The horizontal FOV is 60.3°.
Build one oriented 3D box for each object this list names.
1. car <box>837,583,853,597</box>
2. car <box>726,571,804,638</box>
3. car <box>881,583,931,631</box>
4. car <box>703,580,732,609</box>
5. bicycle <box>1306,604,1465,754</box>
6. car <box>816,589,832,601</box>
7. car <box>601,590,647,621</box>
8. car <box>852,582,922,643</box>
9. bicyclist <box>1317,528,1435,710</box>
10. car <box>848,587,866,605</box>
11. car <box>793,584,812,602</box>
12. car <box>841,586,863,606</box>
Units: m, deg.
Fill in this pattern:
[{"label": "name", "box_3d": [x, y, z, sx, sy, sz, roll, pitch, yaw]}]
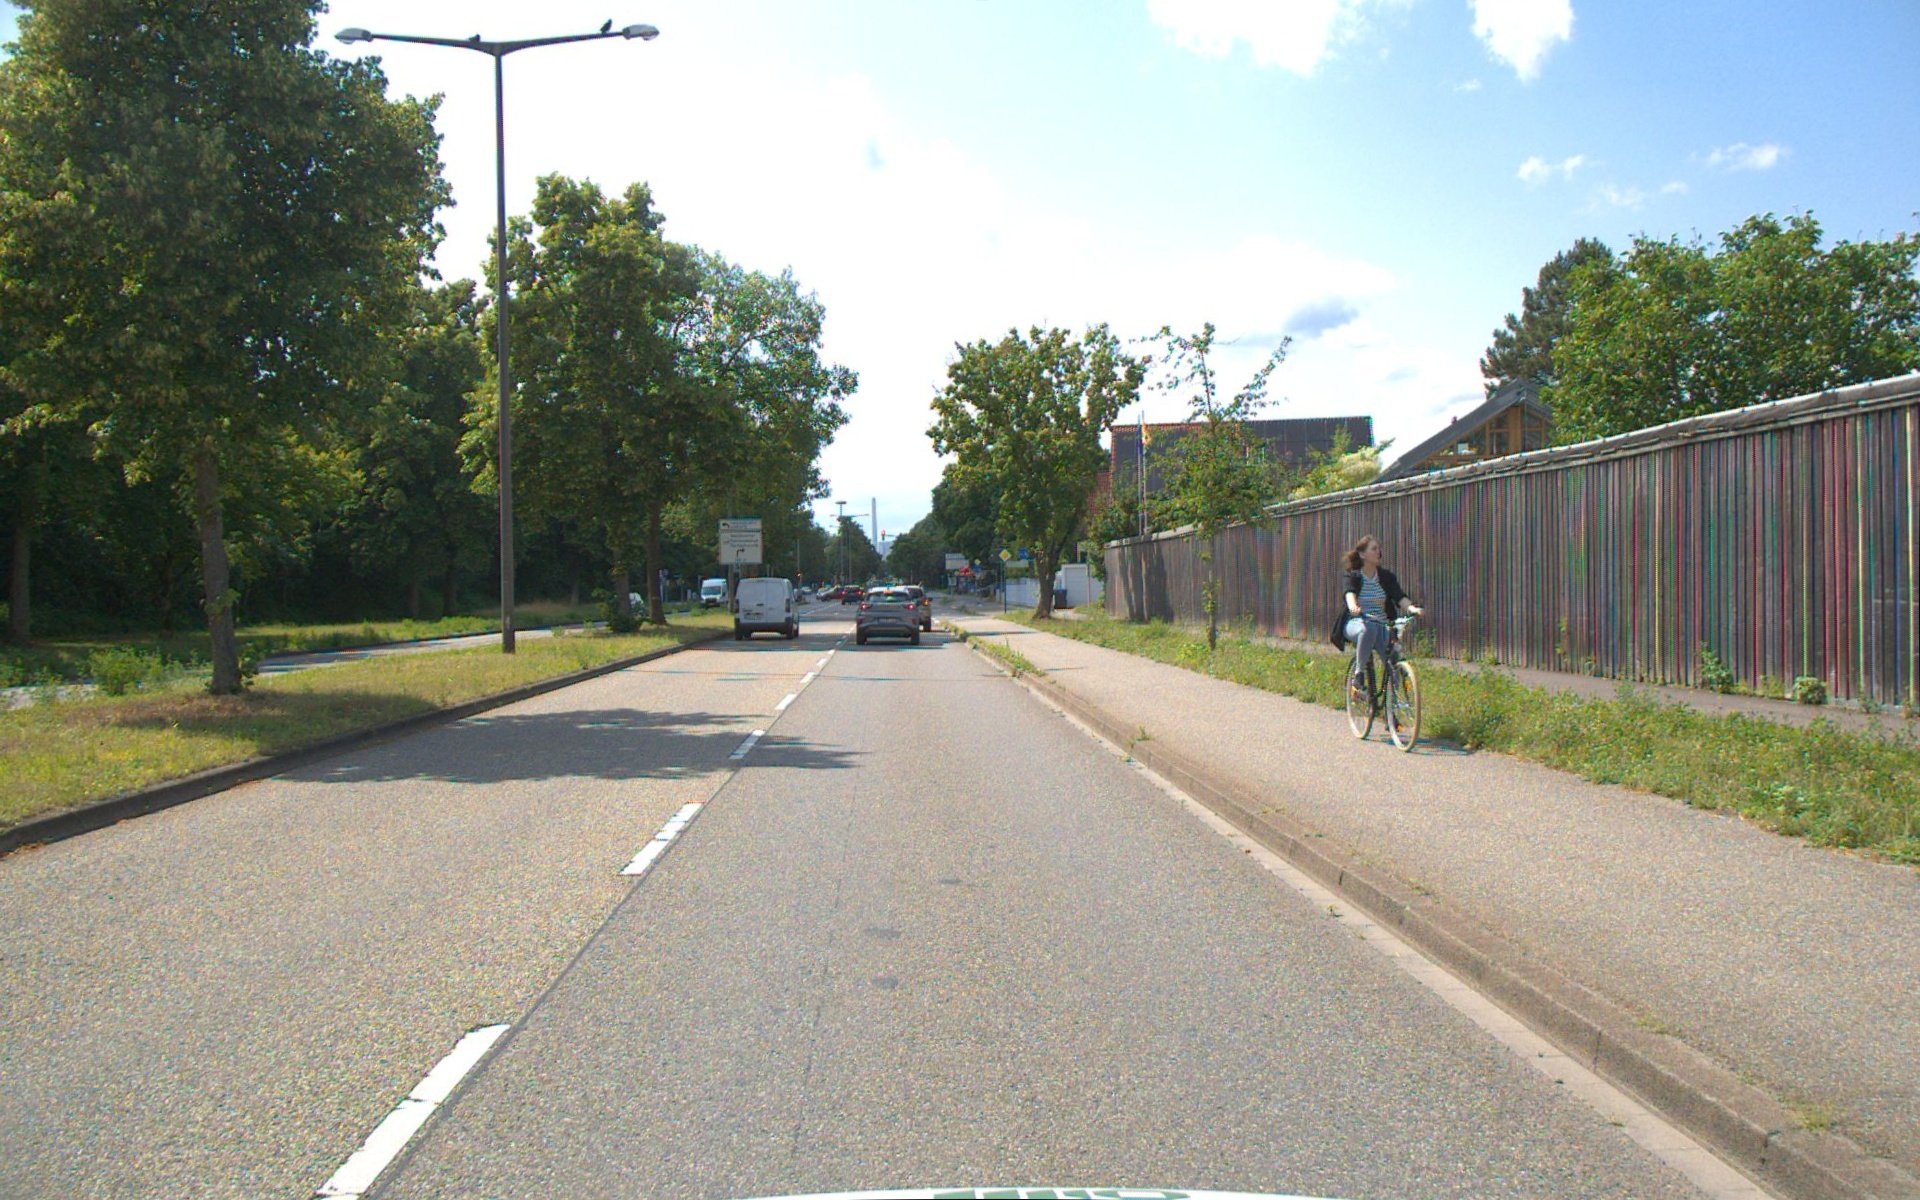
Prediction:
[{"label": "car", "box_3d": [-14.495, -1.247, 208.521, 1.744, 1.798, 4.149, -1, 0, -2]}, {"label": "car", "box_3d": [-5.956, 0.103, 51.015, 2.024, 1.945, 4.644, -1, 1, -2]}, {"label": "car", "box_3d": [-1.993, 0.233, 60.626, 1.744, 1.672, 4.195, -1, 0, -2]}, {"label": "car", "box_3d": [-21.582, -0.477, 147.265, 2.004, 2.474, 5.248, -1, 0, -2]}, {"label": "bicycle", "box_3d": [3.509, 0.606, 13.848, 0.633, 1.086, 2.278, -3, 1, -1]}, {"label": "car", "box_3d": [-17.877, -0.684, 218.101, 1.854, 1.616, 4.108, -1, 0, -2]}, {"label": "car", "box_3d": [-19.831, 0.320, 97.715, 1.953, 1.735, 4.191, -1, 0, -2]}, {"label": "car", "box_3d": [-2.022, 0.315, 46.305, 1.837, 1.616, 4.183, -1, 0, -2]}, {"label": "bicyclist", "box_3d": [3.481, 0.148, 13.914, 0.641, 1.436, 0.986, -3, 0, -2]}, {"label": "car", "box_3d": [-10.310, -0.394, 165.661, 1.744, 1.798, 4.167, -1, 0, -2]}, {"label": "car", "box_3d": [-16.516, -0.761, 173.813, 1.744, 1.798, 4.124, -1, 0, -2]}, {"label": "car", "box_3d": [-10.102, -0.393, 155.278, 1.902, 1.798, 4.144, -1, 0, -2]}]
